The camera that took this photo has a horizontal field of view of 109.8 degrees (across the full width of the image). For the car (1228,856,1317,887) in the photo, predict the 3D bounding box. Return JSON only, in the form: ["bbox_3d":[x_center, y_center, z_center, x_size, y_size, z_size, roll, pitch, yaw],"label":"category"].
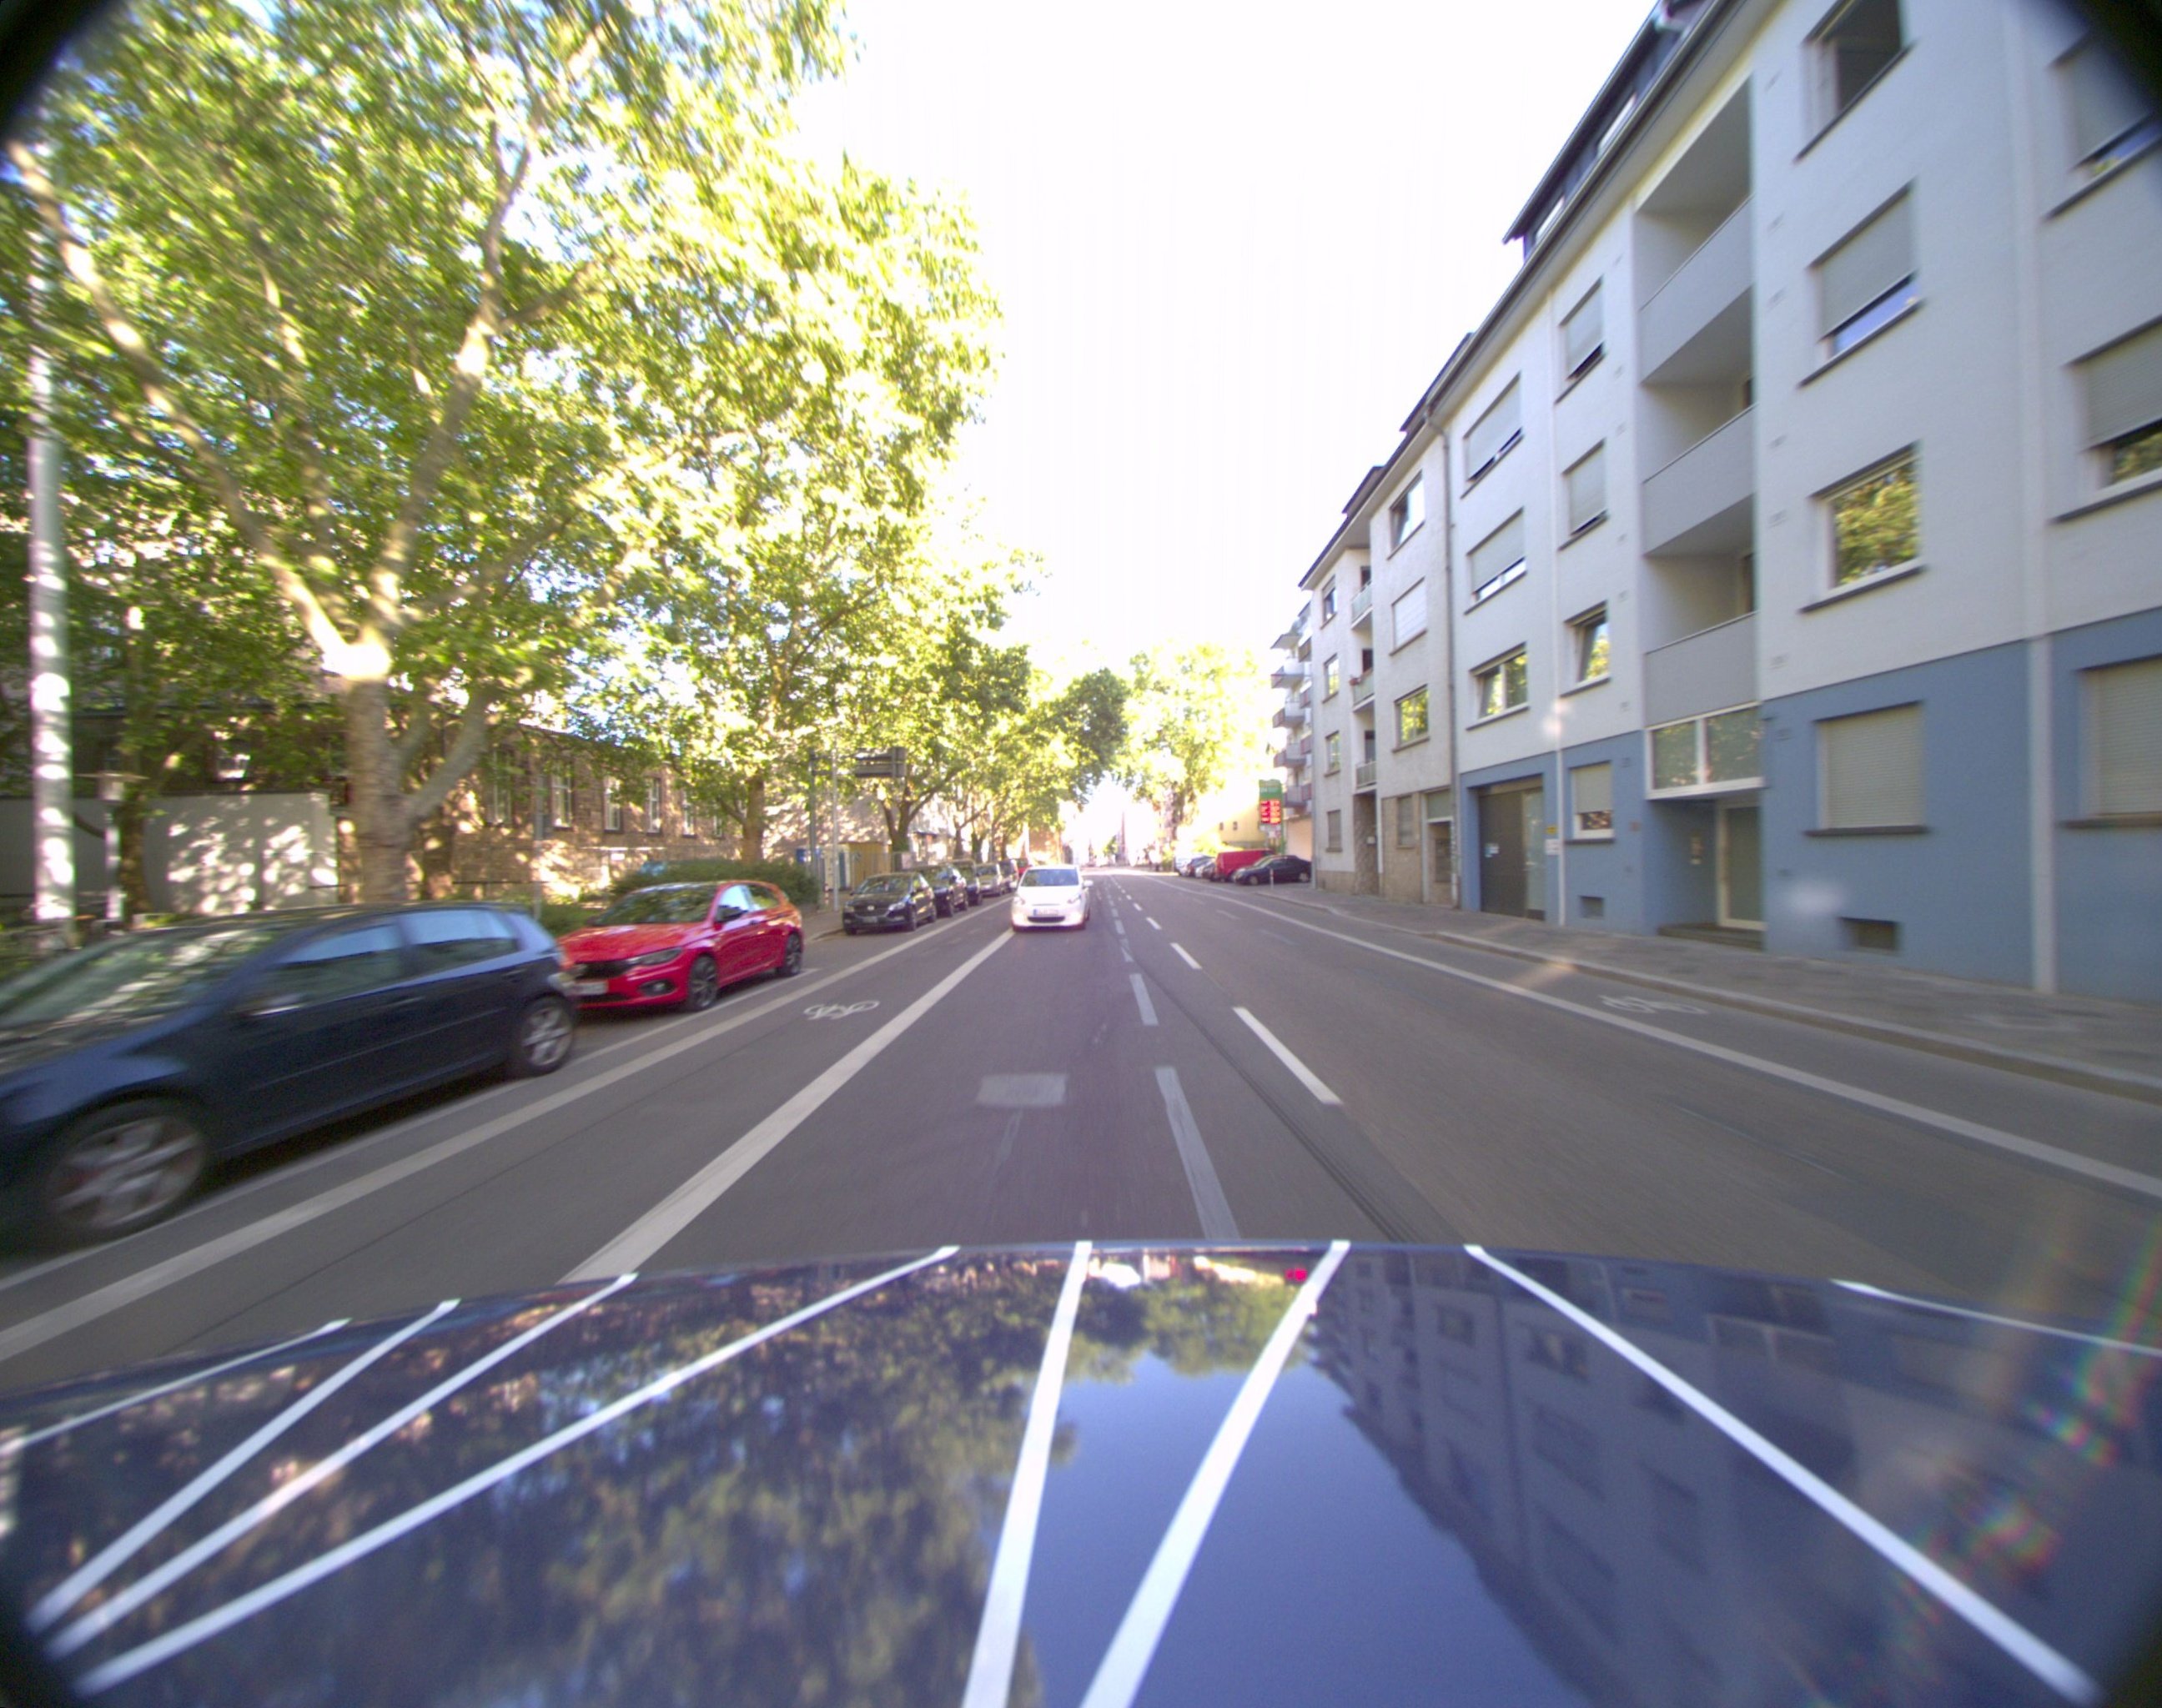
[{"bbox_3d":[10.283,0.922,41.061,4.239,1.372,2.046,-3,0,1],"label":"car"}]

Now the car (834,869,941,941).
[{"bbox_3d":[-4.820,1.218,19.493,1.697,1.494,4.020,-3,0,-1],"label":"car"}]

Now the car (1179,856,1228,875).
[{"bbox_3d":[10.789,1.009,66.973,3.997,1.550,1.853,-2,0,1],"label":"car"}]

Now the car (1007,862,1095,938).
[{"bbox_3d":[-0.621,1.013,18.162,1.683,1.490,3.686,-3,0,3],"label":"car"}]

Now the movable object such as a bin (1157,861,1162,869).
[{"bbox_3d":[10.482,1.470,101.552,0.595,1.065,0.645,-1,0,1],"label":"movable object such as a bin"}]

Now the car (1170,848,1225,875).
[{"bbox_3d":[10.944,0.694,71.602,4.856,2.203,2.140,-3,0,1],"label":"car"}]

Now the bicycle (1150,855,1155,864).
[{"bbox_3d":[10.657,0.815,112.676,0.608,1.232,2.050,1,-1,1],"label":"bicycle"}]

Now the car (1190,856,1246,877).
[{"bbox_3d":[10.622,0.934,59.134,3.997,1.447,1.916,-2,0,1],"label":"car"}]

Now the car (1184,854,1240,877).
[{"bbox_3d":[10.707,0.912,62.314,4.204,1.674,2.028,-2,0,1],"label":"car"}]

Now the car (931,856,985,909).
[{"bbox_3d":[-4.804,1.064,30.265,1.830,1.830,4.896,-3,0,-7],"label":"car"}]

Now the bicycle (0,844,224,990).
[{"bbox_3d":[-14.088,0.881,10.958,2.604,2.002,0.742,-1,0,1],"label":"bicycle"}]

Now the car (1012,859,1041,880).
[{"bbox_3d":[-4.080,1.130,57.632,1.641,1.476,3.760,-3,0,3],"label":"car"}]

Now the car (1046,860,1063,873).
[{"bbox_3d":[-3.147,1.448,89.632,1.860,1.428,4.969,-2,0,-2],"label":"car"}]

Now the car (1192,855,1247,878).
[{"bbox_3d":[10.395,0.925,57.207,3.694,1.504,1.831,-3,0,1],"label":"car"}]

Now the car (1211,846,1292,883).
[{"bbox_3d":[10.333,0.639,46.316,4.432,1.940,2.146,-4,0,1],"label":"car"}]

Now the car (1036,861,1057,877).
[{"bbox_3d":[-3.589,1.555,78.694,1.860,1.513,4.297,-3,0,1],"label":"car"}]

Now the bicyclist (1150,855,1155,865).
[{"bbox_3d":[10.662,0.902,112.925,0.608,1.535,0.934,1,0,1],"label":"bicyclist"}]

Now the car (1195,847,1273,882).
[{"bbox_3d":[9.851,0.662,49.091,4.533,1.940,2.057,-4,0,1],"label":"car"}]

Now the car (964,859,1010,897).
[{"bbox_3d":[-4.522,1.122,37.058,1.697,1.618,4.329,-3,0,-1],"label":"car"}]

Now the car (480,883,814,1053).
[{"bbox_3d":[-5.151,1.241,9.844,1.697,1.470,4.319,-3,0,1],"label":"car"}]

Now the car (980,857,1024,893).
[{"bbox_3d":[-4.247,1.097,41.593,1.697,1.802,4.131,-3,0,3],"label":"car"}]

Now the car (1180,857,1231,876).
[{"bbox_3d":[10.607,1.087,64.850,3.997,1.424,1.853,-2,0,1],"label":"car"}]

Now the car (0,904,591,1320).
[{"bbox_3d":[-5.188,1.203,4.539,1.697,1.457,4.066,-3,0,2],"label":"car"}]

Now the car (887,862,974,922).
[{"bbox_3d":[-4.699,1.135,24.365,1.780,1.618,4.620,-3,0,0],"label":"car"}]

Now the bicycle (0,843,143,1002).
[{"bbox_3d":[-14.139,0.887,10.029,2.604,2.002,0.742,-1,0,1],"label":"bicycle"}]

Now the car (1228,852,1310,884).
[{"bbox_3d":[10.682,0.785,43.343,4.183,1.554,1.886,-4,0,1],"label":"car"}]

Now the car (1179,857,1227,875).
[{"bbox_3d":[11.078,1.094,69.209,3.997,1.424,1.853,-2,0,1],"label":"car"}]

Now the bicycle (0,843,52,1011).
[{"bbox_3d":[-14.165,0.892,9.129,2.604,2.002,0.742,-1,0,1],"label":"bicycle"}]

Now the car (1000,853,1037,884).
[{"bbox_3d":[-4.273,0.983,52.937,2.083,1.982,5.171,-3,0,-1],"label":"car"}]
